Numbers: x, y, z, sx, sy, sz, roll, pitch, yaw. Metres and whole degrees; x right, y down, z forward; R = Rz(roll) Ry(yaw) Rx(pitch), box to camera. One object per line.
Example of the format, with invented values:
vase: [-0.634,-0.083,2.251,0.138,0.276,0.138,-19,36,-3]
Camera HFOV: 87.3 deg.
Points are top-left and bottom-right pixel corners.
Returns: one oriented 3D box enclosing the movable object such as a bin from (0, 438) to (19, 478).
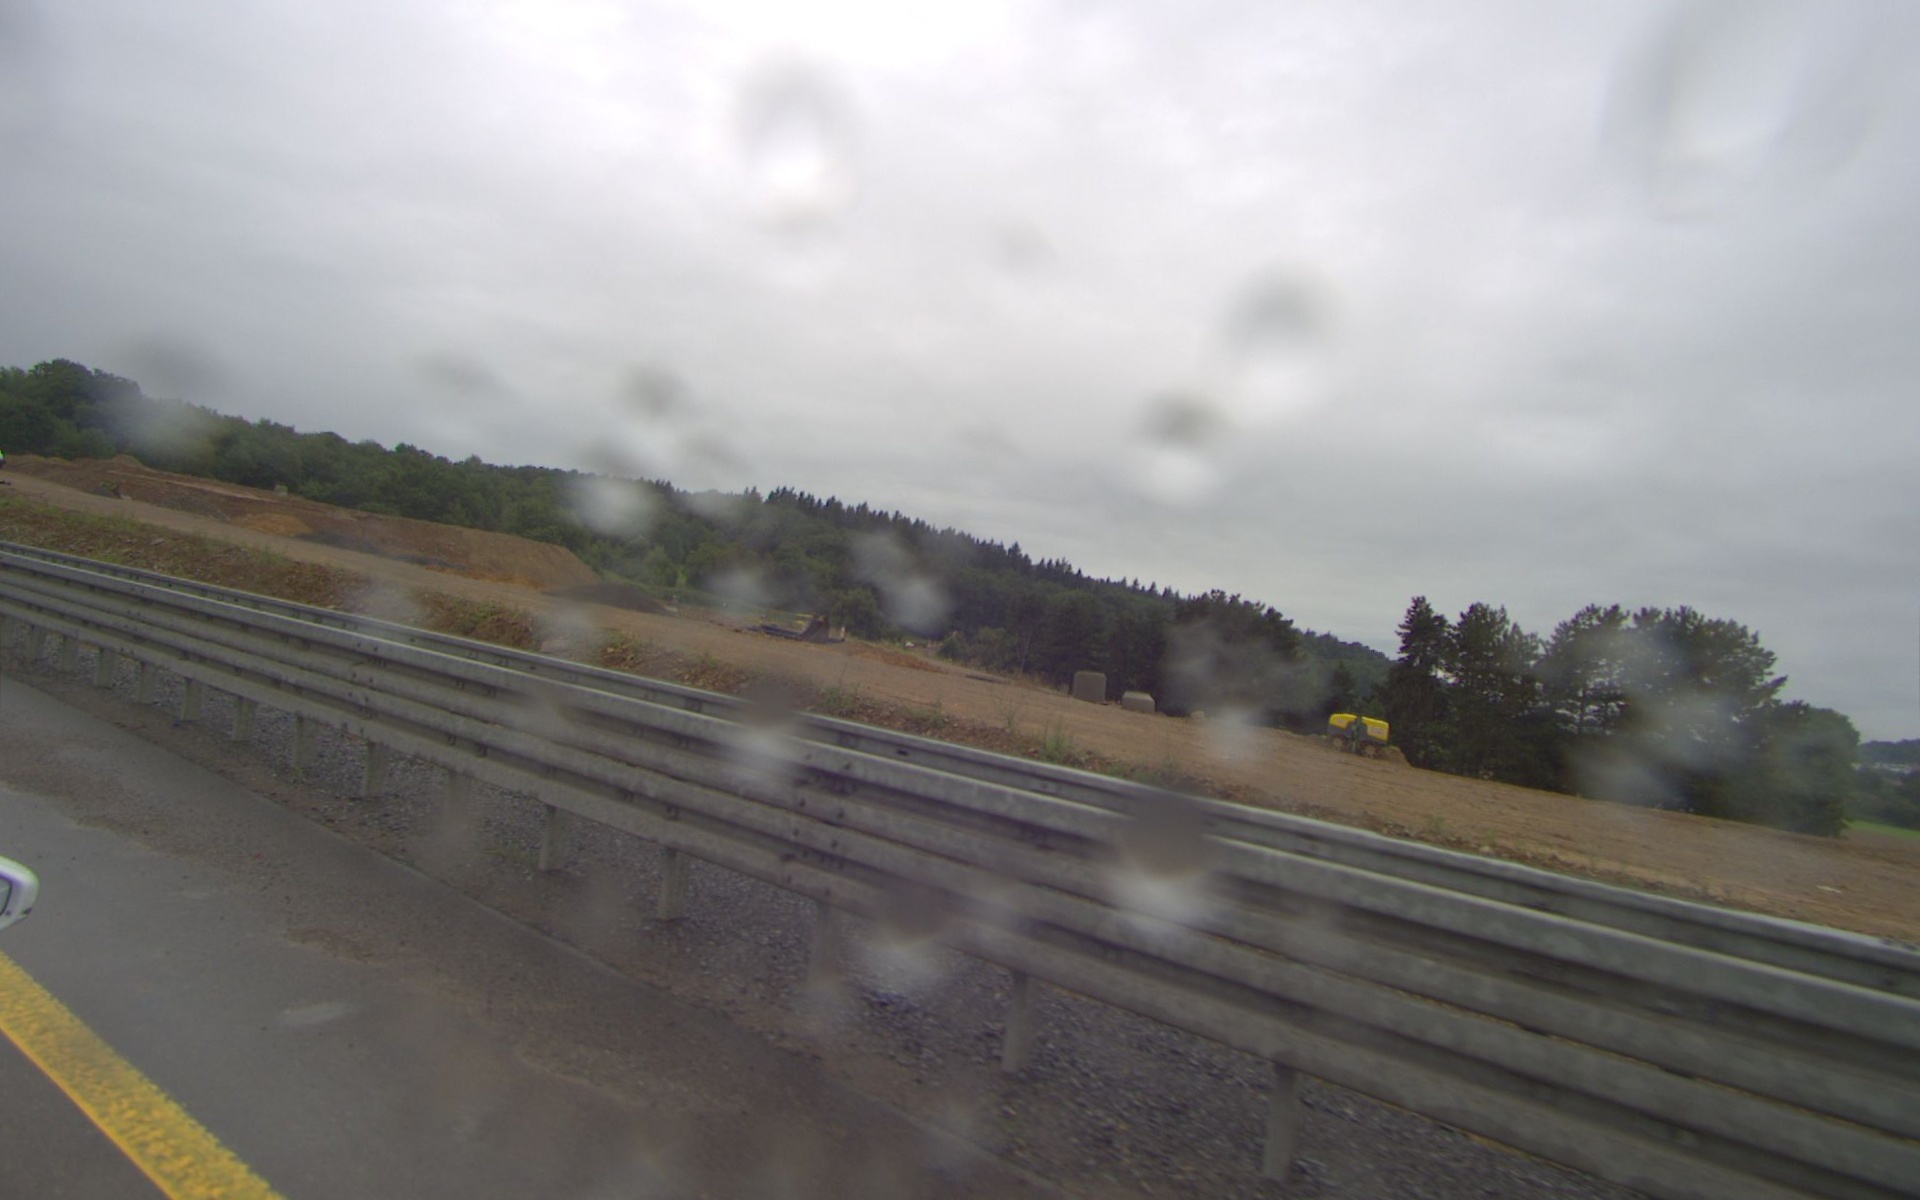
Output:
movable object such as a bin: [-97.014,-14.391,100.300,6.447,3.641,2.347,7,-1,28]

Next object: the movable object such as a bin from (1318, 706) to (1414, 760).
movable object such as a bin: [13.231,4.308,32.769,2.659,1.316,1.391,7,-2,27]
